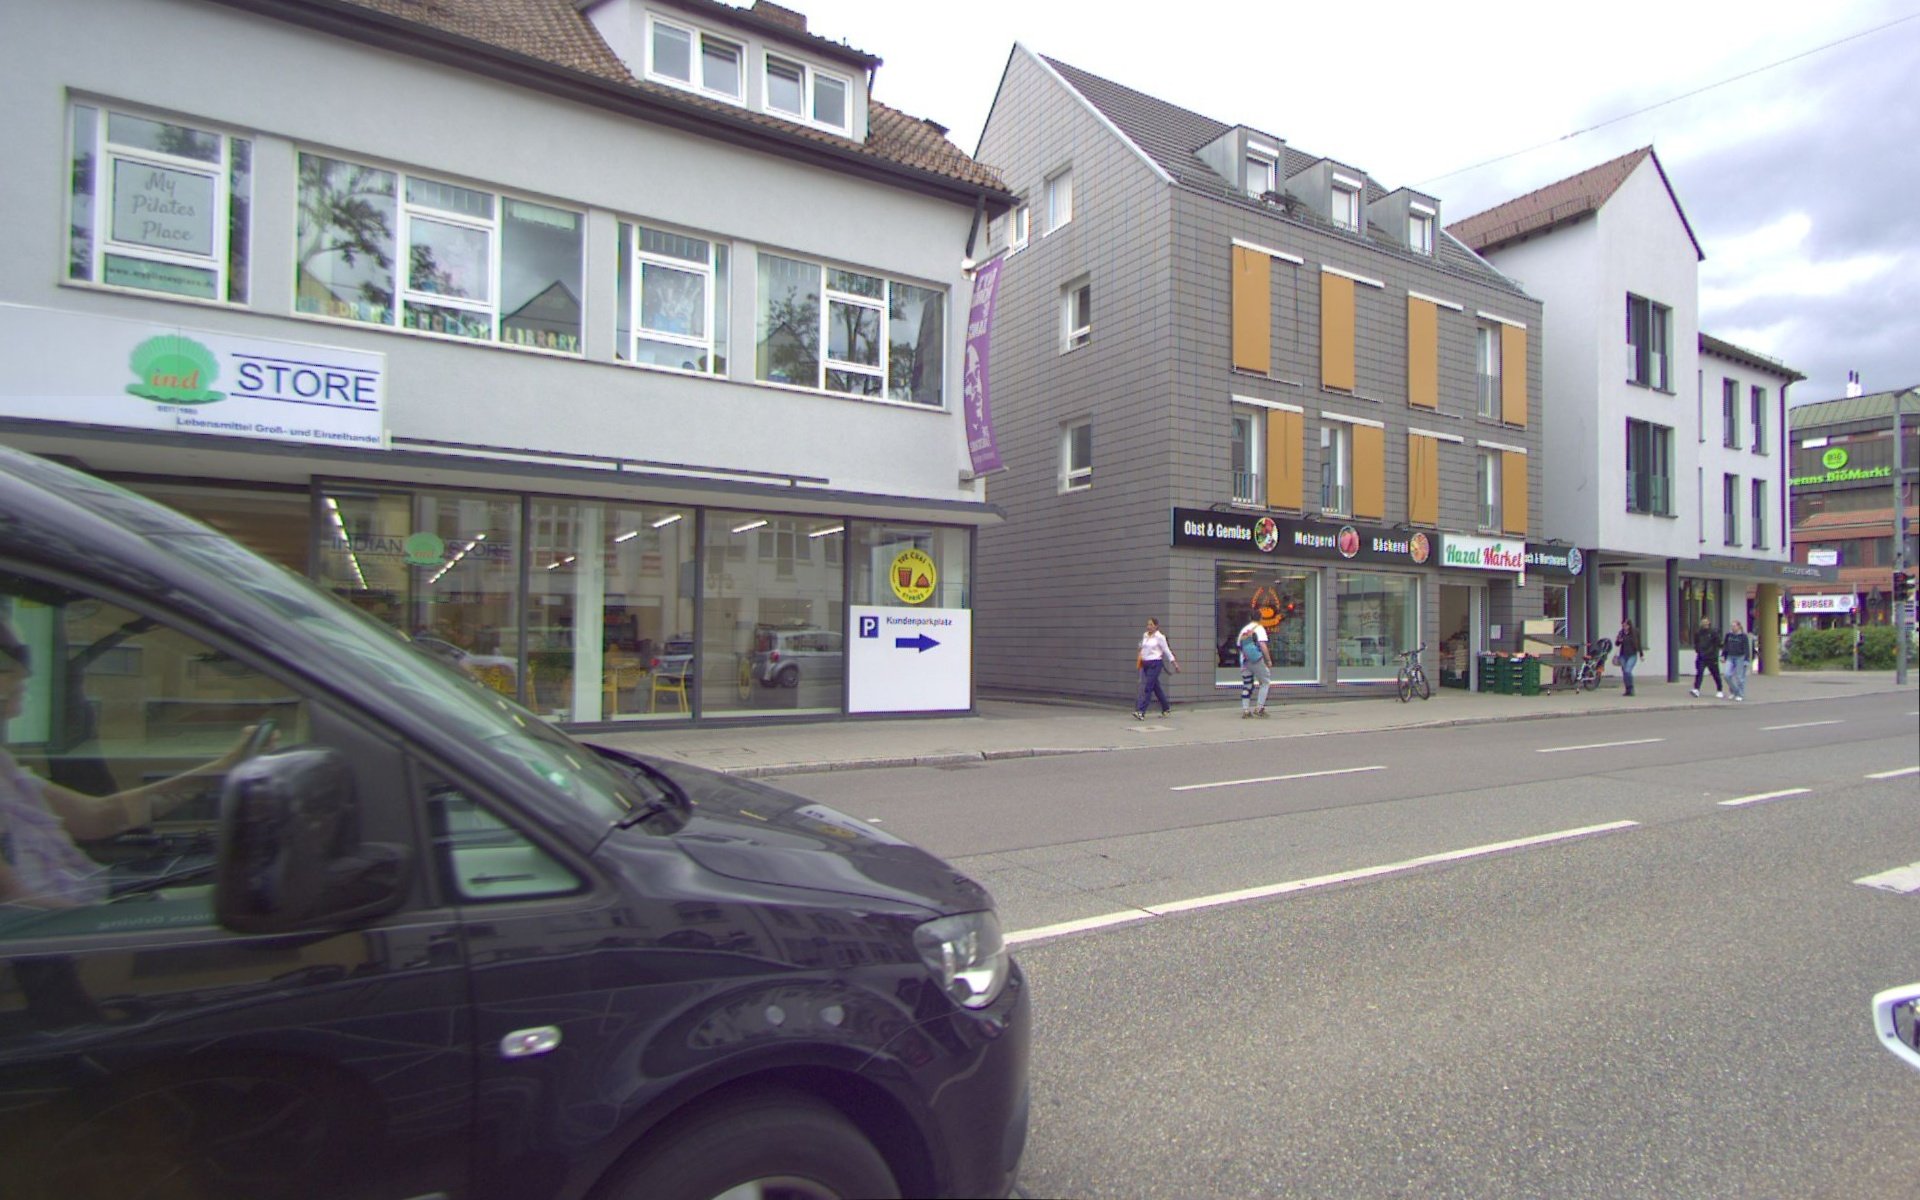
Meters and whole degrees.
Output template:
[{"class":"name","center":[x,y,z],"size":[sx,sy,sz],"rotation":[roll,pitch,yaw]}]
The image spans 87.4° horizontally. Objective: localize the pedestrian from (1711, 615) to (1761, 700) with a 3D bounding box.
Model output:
[{"class":"pedestrian","center":[17.033,1.250,22.050],"size":[0.642,1.814,0.678],"rotation":[1,-1,-33]}]

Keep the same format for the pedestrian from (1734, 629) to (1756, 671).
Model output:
[{"class":"pedestrian","center":[31.287,1.978,40.031],"size":[0.654,1.671,0.790],"rotation":[-1,-1,39]}]

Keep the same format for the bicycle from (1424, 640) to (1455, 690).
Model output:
[{"class":"bicycle","center":[11.408,1.538,23.924],"size":[0.380,1.142,1.291],"rotation":[0,-1,13]}]

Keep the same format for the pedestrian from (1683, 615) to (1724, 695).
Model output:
[{"class":"pedestrian","center":[16.990,1.238,22.943],"size":[0.640,1.799,0.565],"rotation":[1,-1,-34]}]

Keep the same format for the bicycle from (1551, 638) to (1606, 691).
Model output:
[{"class":"bicycle","center":[14.569,1.490,23.643],"size":[1.806,1.201,0.384],"rotation":[1,-2,-34]}]

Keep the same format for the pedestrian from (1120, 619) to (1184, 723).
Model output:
[{"class":"pedestrian","center":[3.107,1.129,16.275],"size":[0.744,1.631,0.725],"rotation":[1,-1,-30]}]

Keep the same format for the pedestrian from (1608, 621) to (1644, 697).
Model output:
[{"class":"pedestrian","center":[14.941,1.309,22.537],"size":[0.643,1.672,0.557],"rotation":[-1,-1,36]}]

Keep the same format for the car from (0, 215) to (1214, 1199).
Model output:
[{"class":"car","center":[-1.899,0.497,1.651],"size":[4.579,1.880,1.736],"rotation":[1,0,-30]}]

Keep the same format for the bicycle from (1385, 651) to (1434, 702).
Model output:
[{"class":"bicycle","center":[8.908,1.498,19.889],"size":[1.472,0.966,0.323],"rotation":[2,-2,-42]}]

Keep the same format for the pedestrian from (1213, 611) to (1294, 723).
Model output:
[{"class":"pedestrian","center":[4.757,1.055,16.280],"size":[0.969,1.728,0.750],"rotation":[1,2,-30]}]
